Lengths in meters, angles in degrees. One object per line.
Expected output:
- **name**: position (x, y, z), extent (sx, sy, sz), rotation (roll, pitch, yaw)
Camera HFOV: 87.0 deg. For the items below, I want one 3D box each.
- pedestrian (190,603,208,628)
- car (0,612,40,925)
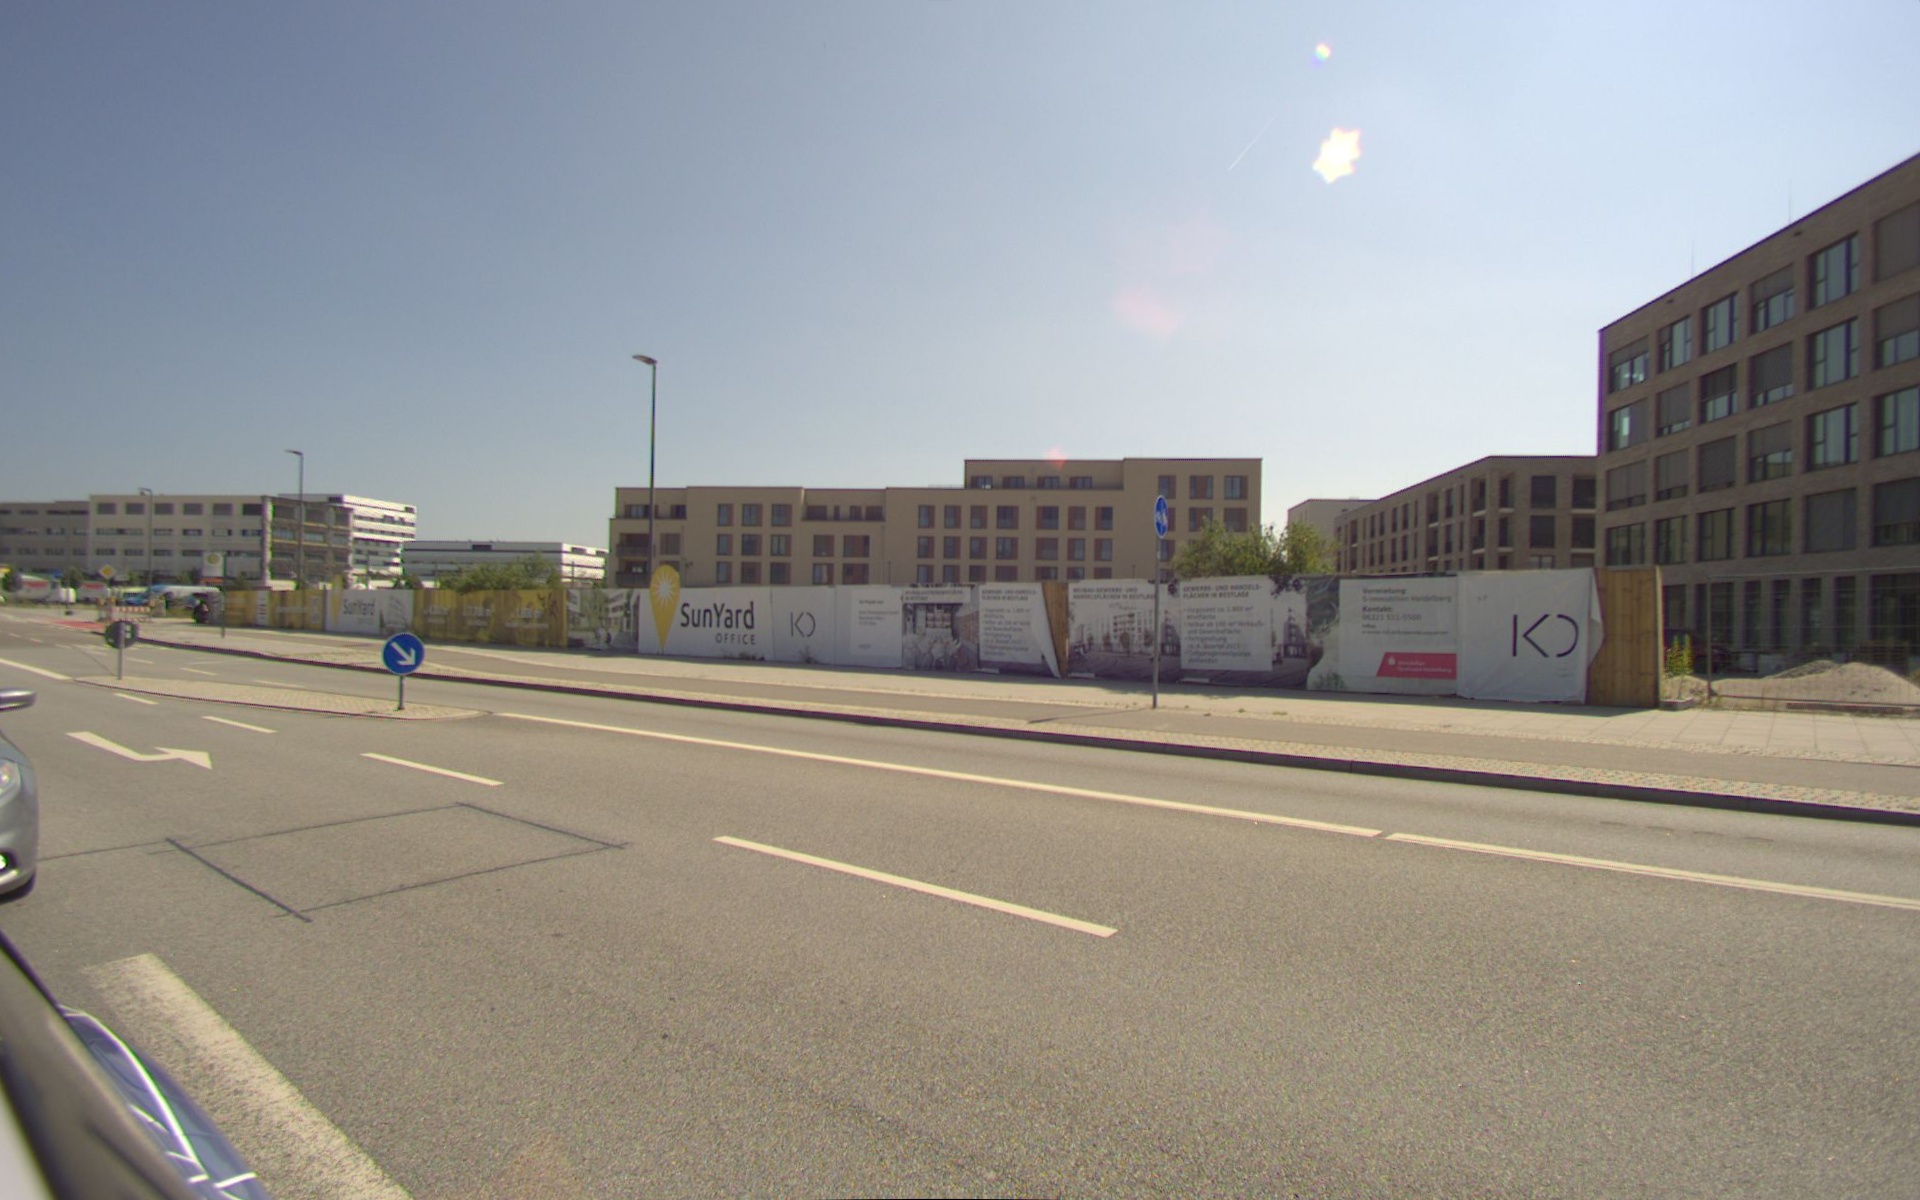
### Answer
- **pedestrian**: position (-48.919, 0.976, 65.027), extent (0.610, 1.598, 0.703), rotation (-1, 0, 5)
- **car**: position (-6.322, 0.777, 5.307), extent (4.134, 1.390, 1.762), rotation (-1, 0, 41)
